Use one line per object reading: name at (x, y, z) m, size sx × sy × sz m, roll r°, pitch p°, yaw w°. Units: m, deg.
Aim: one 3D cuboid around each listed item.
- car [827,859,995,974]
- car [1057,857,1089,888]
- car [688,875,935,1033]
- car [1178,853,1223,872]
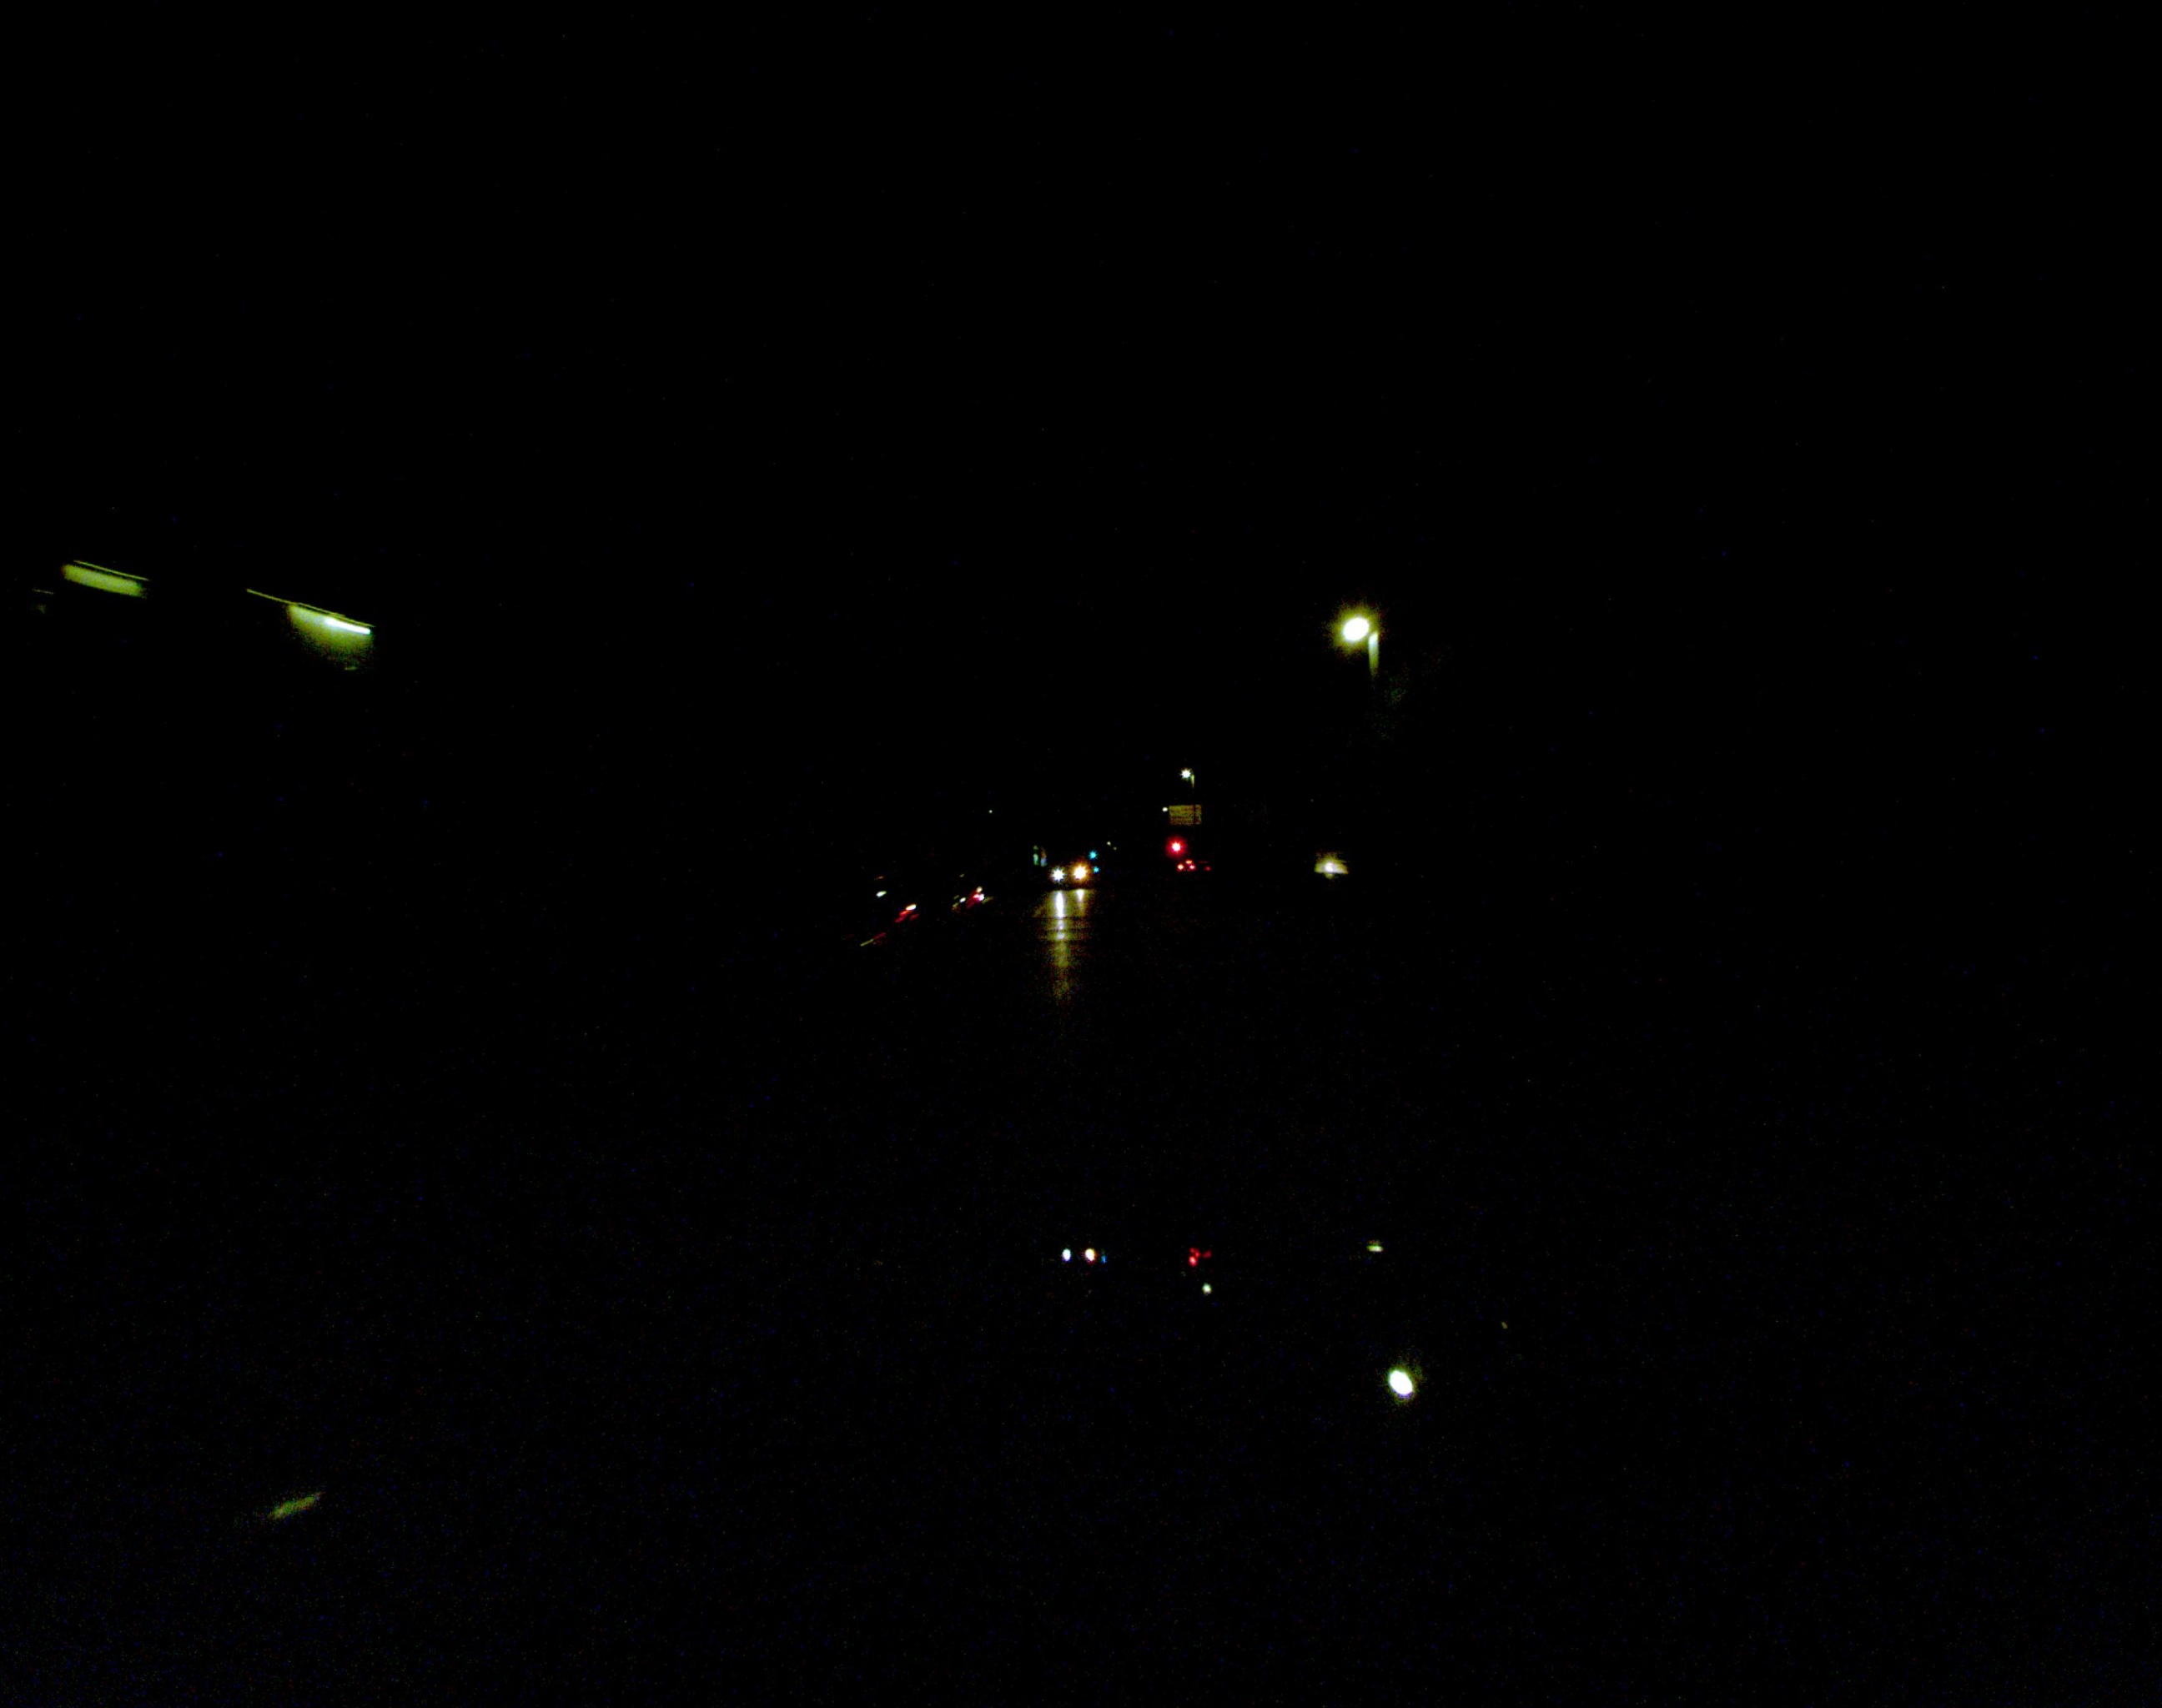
car at (-2.798, 0.945, 13.658) m, size 1.759 × 1.584 × 4.728 m, roll -3°, pitch 0°, yaw 2°
car at (-0.399, 0.945, 39.702) m, size 1.513 × 1.492 × 3.050 m, roll -1°, pitch 0°, yaw 2°
car at (-2.941, 1.013, 9.151) m, size 1.613 × 1.452 × 3.717 m, roll 0°, pitch -1°, yaw 0°
car at (9.785, 0.676, 62.035) m, size 1.726 × 1.421 × 4.298 m, roll 0°, pitch 1°, yaw 38°
